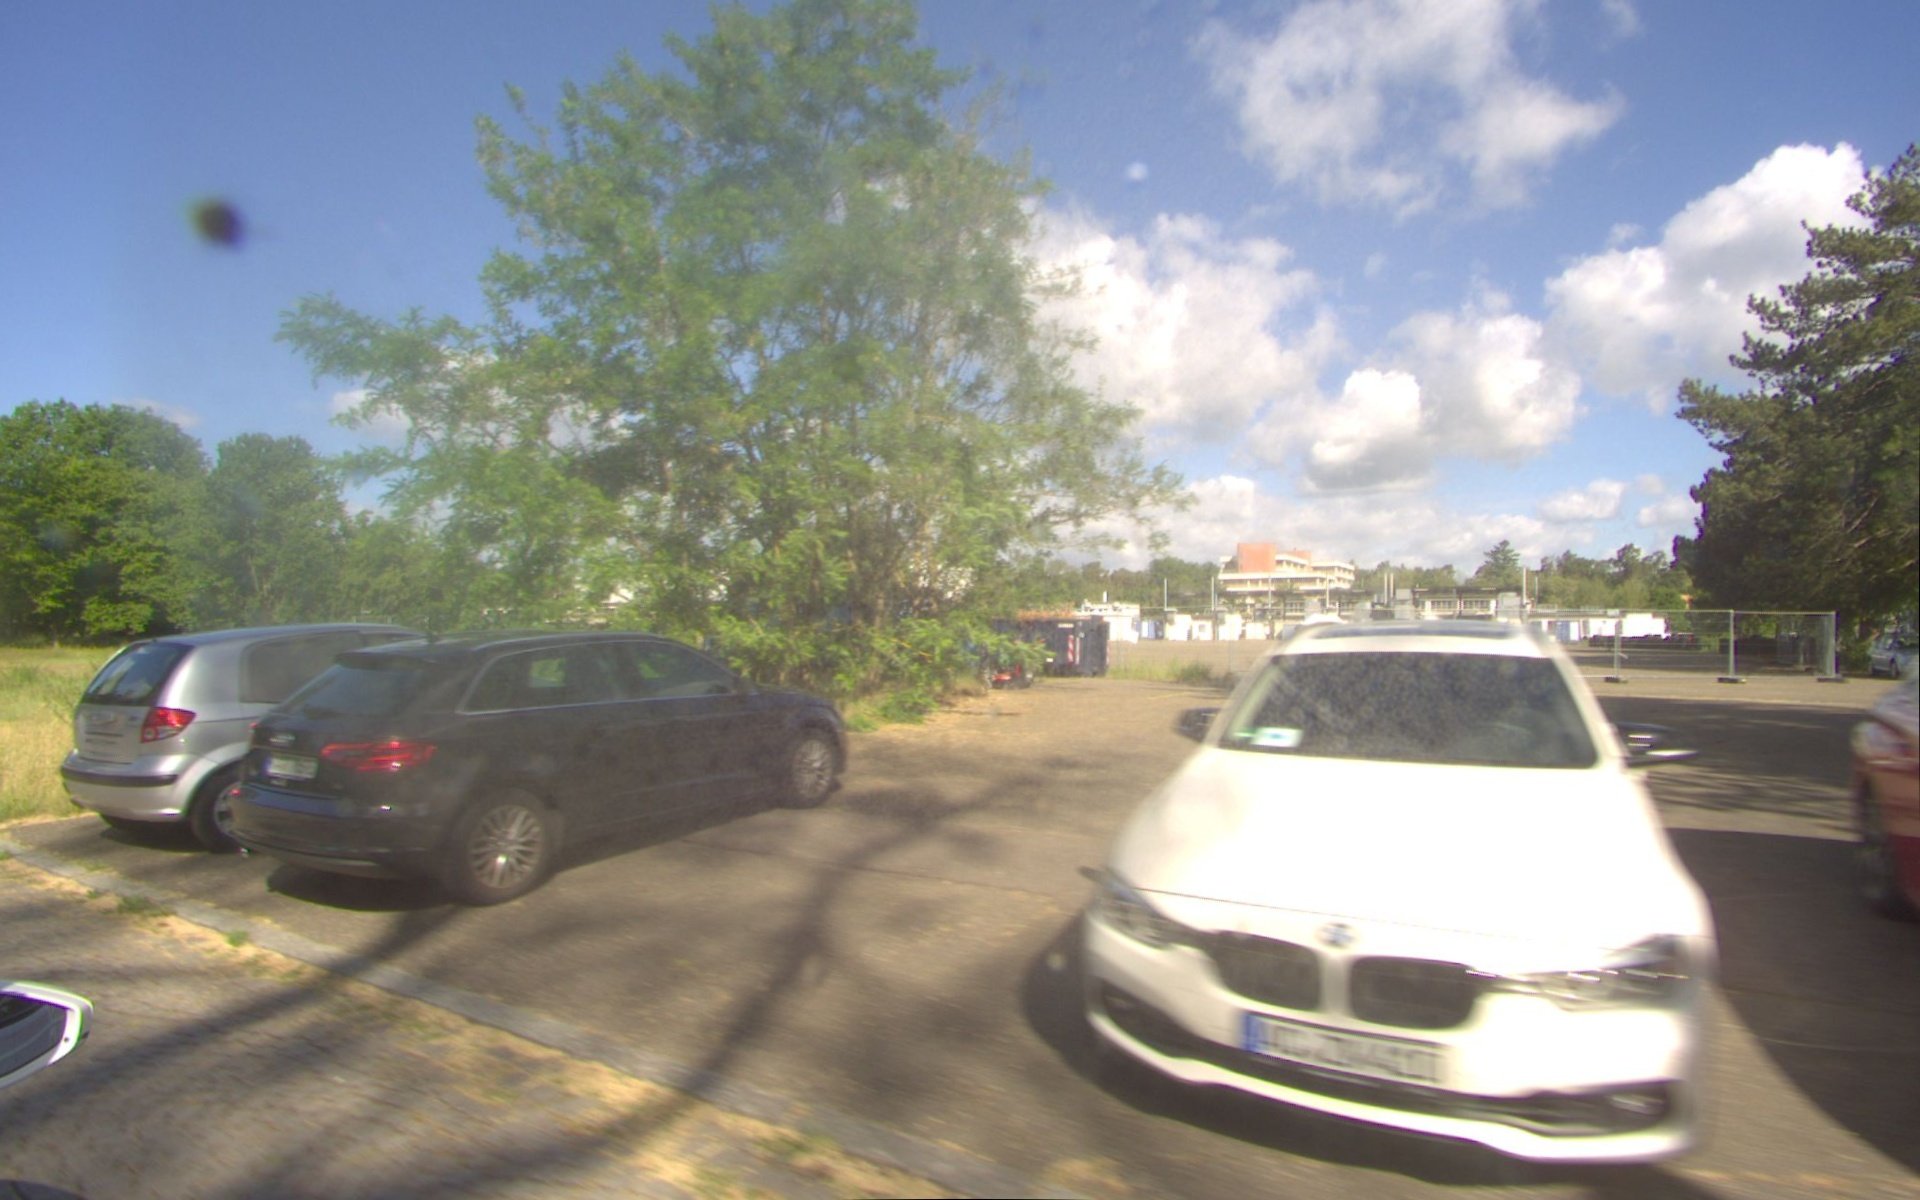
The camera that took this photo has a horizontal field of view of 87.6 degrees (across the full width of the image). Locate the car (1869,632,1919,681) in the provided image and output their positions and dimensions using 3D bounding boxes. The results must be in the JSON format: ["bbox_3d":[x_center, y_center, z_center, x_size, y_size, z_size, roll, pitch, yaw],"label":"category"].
[{"bbox_3d":[29.781,1.735,30.973,1.720,1.440,3.981,1,-1,31],"label":"car"}]

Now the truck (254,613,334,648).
[{"bbox_3d":[-49.028,2.277,73.653,6.786,2.454,2.231,-1,-3,31],"label":"truck"}]

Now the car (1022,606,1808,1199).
[{"bbox_3d":[2.070,0.821,4.517,1.811,1.484,4.507,-1,0,29],"label":"car"}]

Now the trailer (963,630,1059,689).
[{"bbox_3d":[1.065,1.180,20.109,1.020,1.119,2.398,0,-3,28],"label":"trailer"}]

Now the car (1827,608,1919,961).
[{"bbox_3d":[4.475,0.785,3.136,1.866,1.440,4.528,-1,0,31],"label":"car"}]

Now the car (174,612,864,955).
[{"bbox_3d":[-2.561,0.877,6.828,1.816,1.461,3.997,0,1,30],"label":"car"}]

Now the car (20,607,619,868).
[{"bbox_3d":[-4.891,0.869,8.204,1.726,1.496,3.733,-1,1,30],"label":"car"}]
